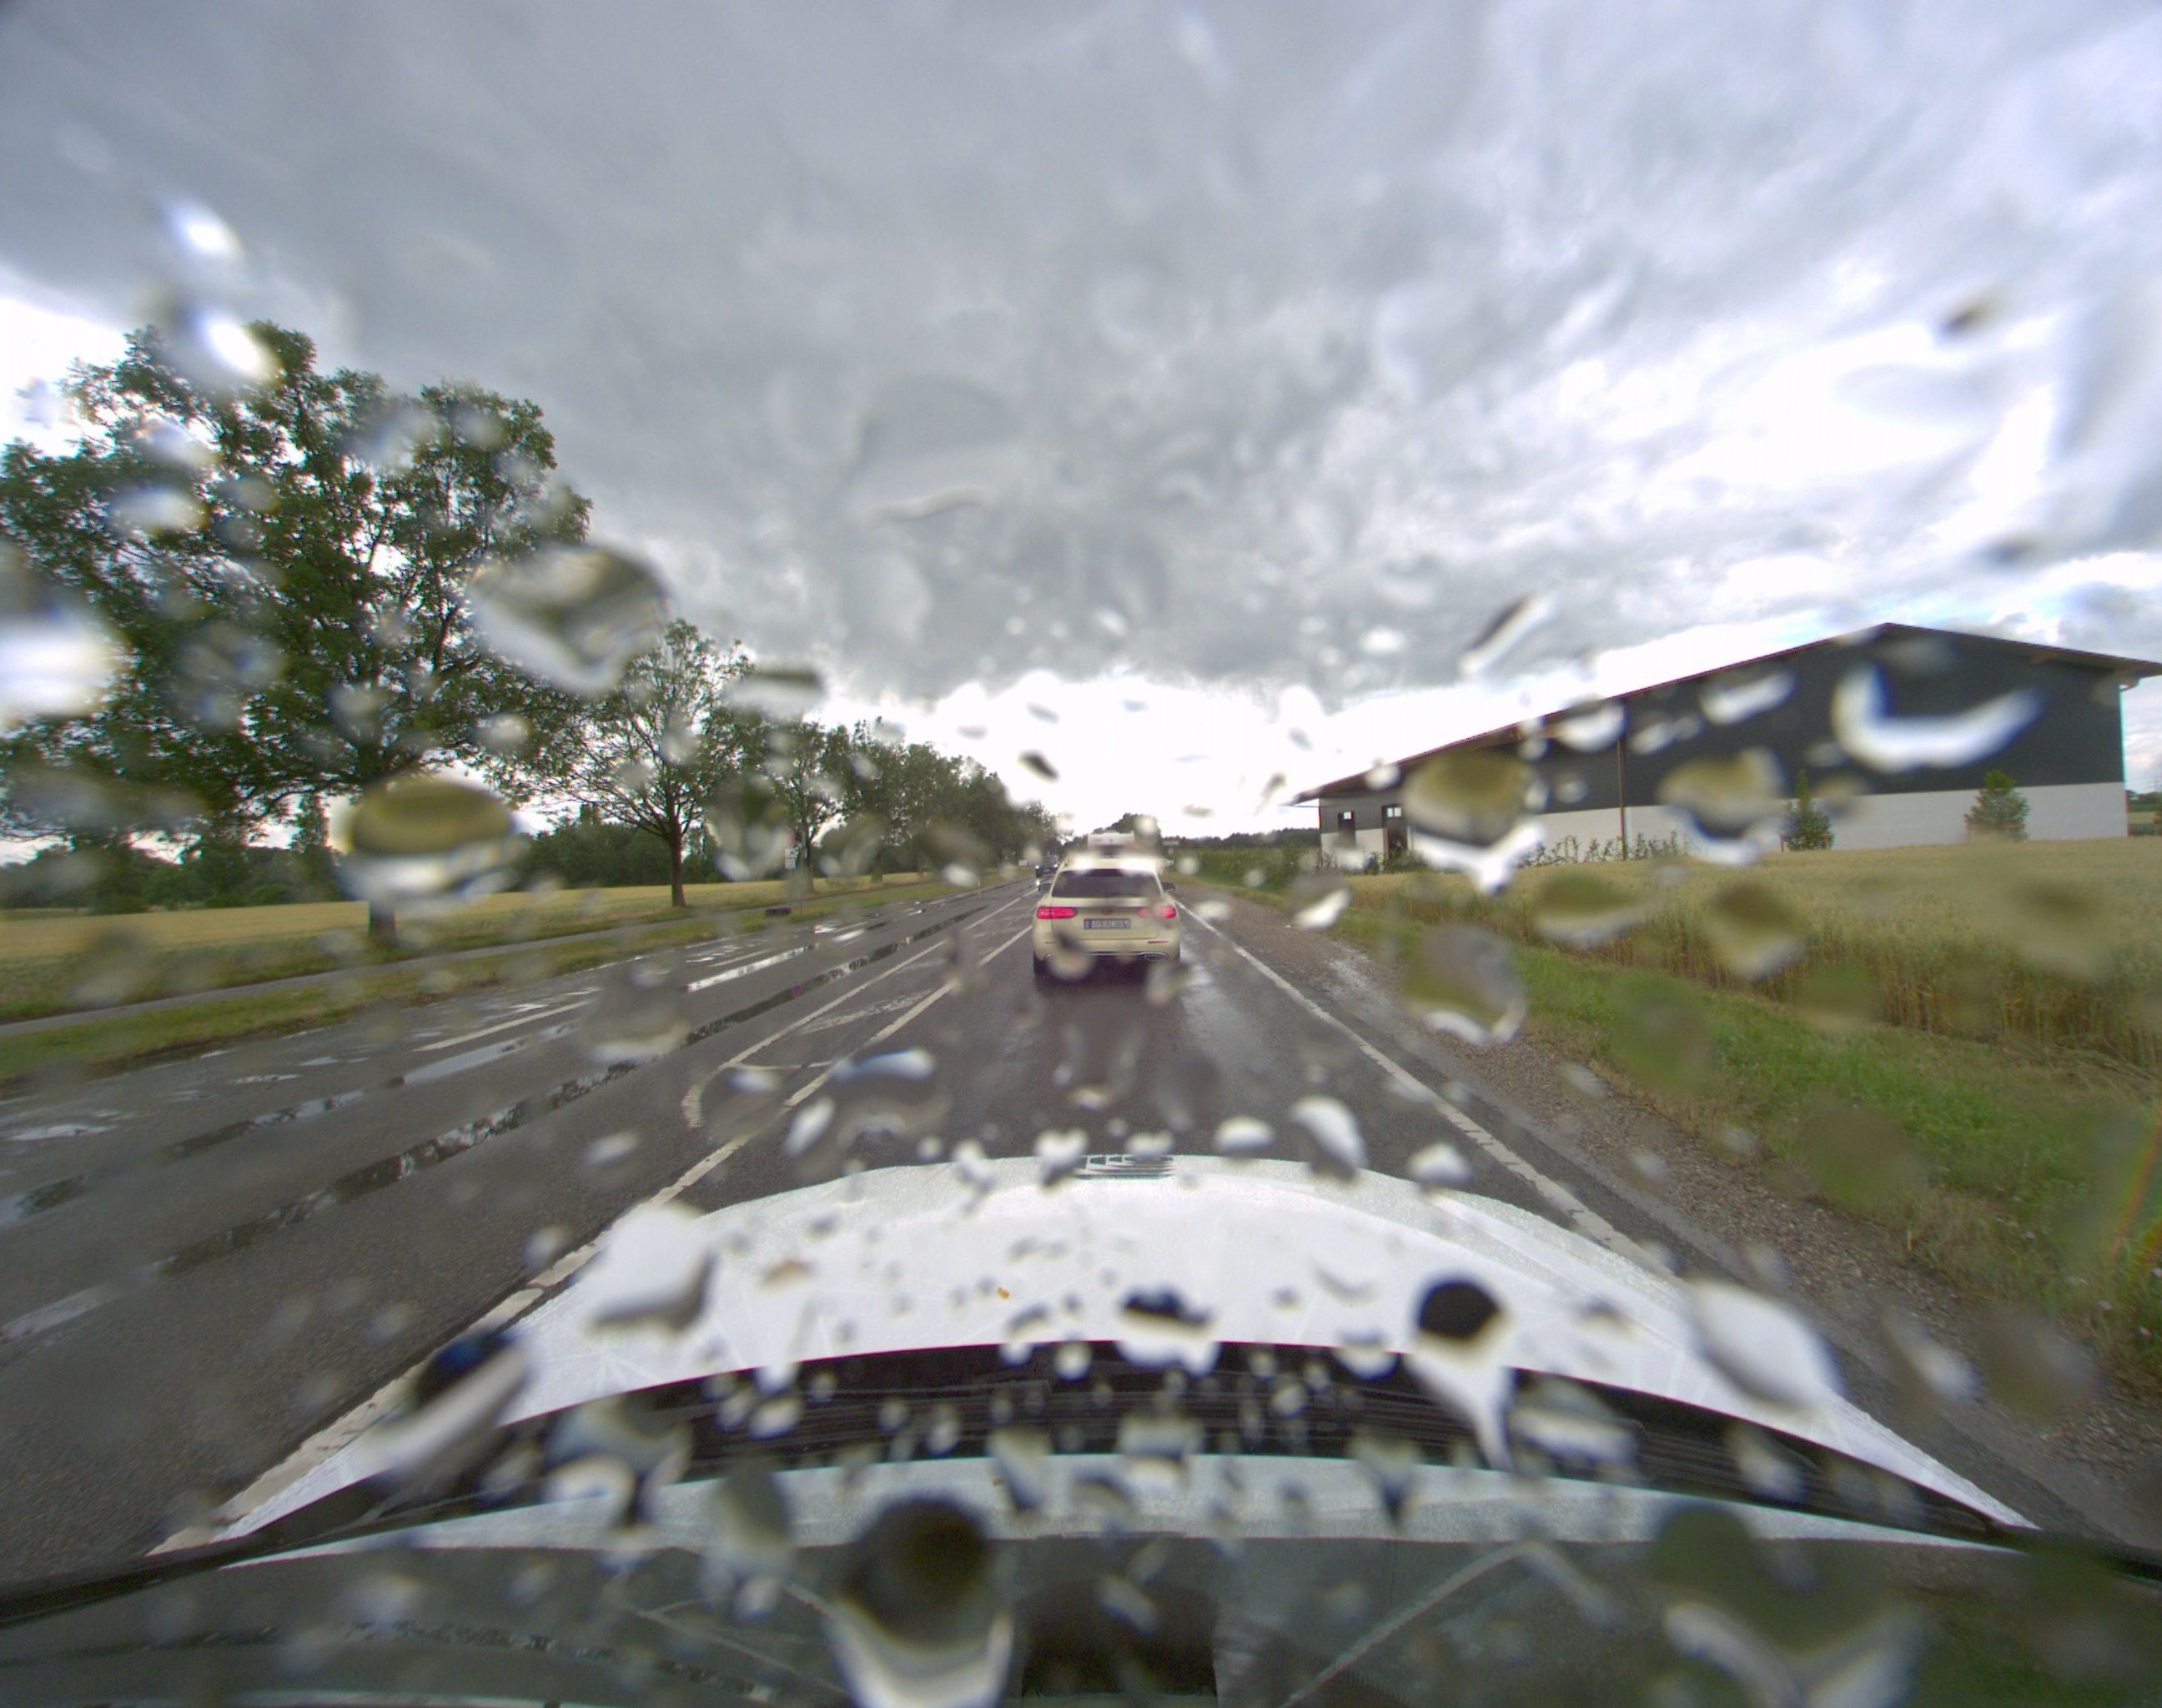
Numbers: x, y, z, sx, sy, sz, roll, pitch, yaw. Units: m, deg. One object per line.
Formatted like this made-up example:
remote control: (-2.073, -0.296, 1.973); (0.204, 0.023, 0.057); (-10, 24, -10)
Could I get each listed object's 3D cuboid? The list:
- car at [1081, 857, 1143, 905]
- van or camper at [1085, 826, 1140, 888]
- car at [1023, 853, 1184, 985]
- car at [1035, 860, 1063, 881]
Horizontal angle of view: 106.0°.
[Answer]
car: (1.013, 0.829, 27.160); (1.887, 1.429, 3.929); (-2, 0, 1)
van or camper: (1.662, 0.172, 41.868); (2.487, 2.831, 5.938); (-3, 0, 3)
car: (0.345, 0.741, 11.253); (1.790, 1.464, 4.033); (-1, 0, 2)
car: (-2.536, 1.281, 66.022); (1.909, 1.632, 4.359); (-1, 0, 2)
